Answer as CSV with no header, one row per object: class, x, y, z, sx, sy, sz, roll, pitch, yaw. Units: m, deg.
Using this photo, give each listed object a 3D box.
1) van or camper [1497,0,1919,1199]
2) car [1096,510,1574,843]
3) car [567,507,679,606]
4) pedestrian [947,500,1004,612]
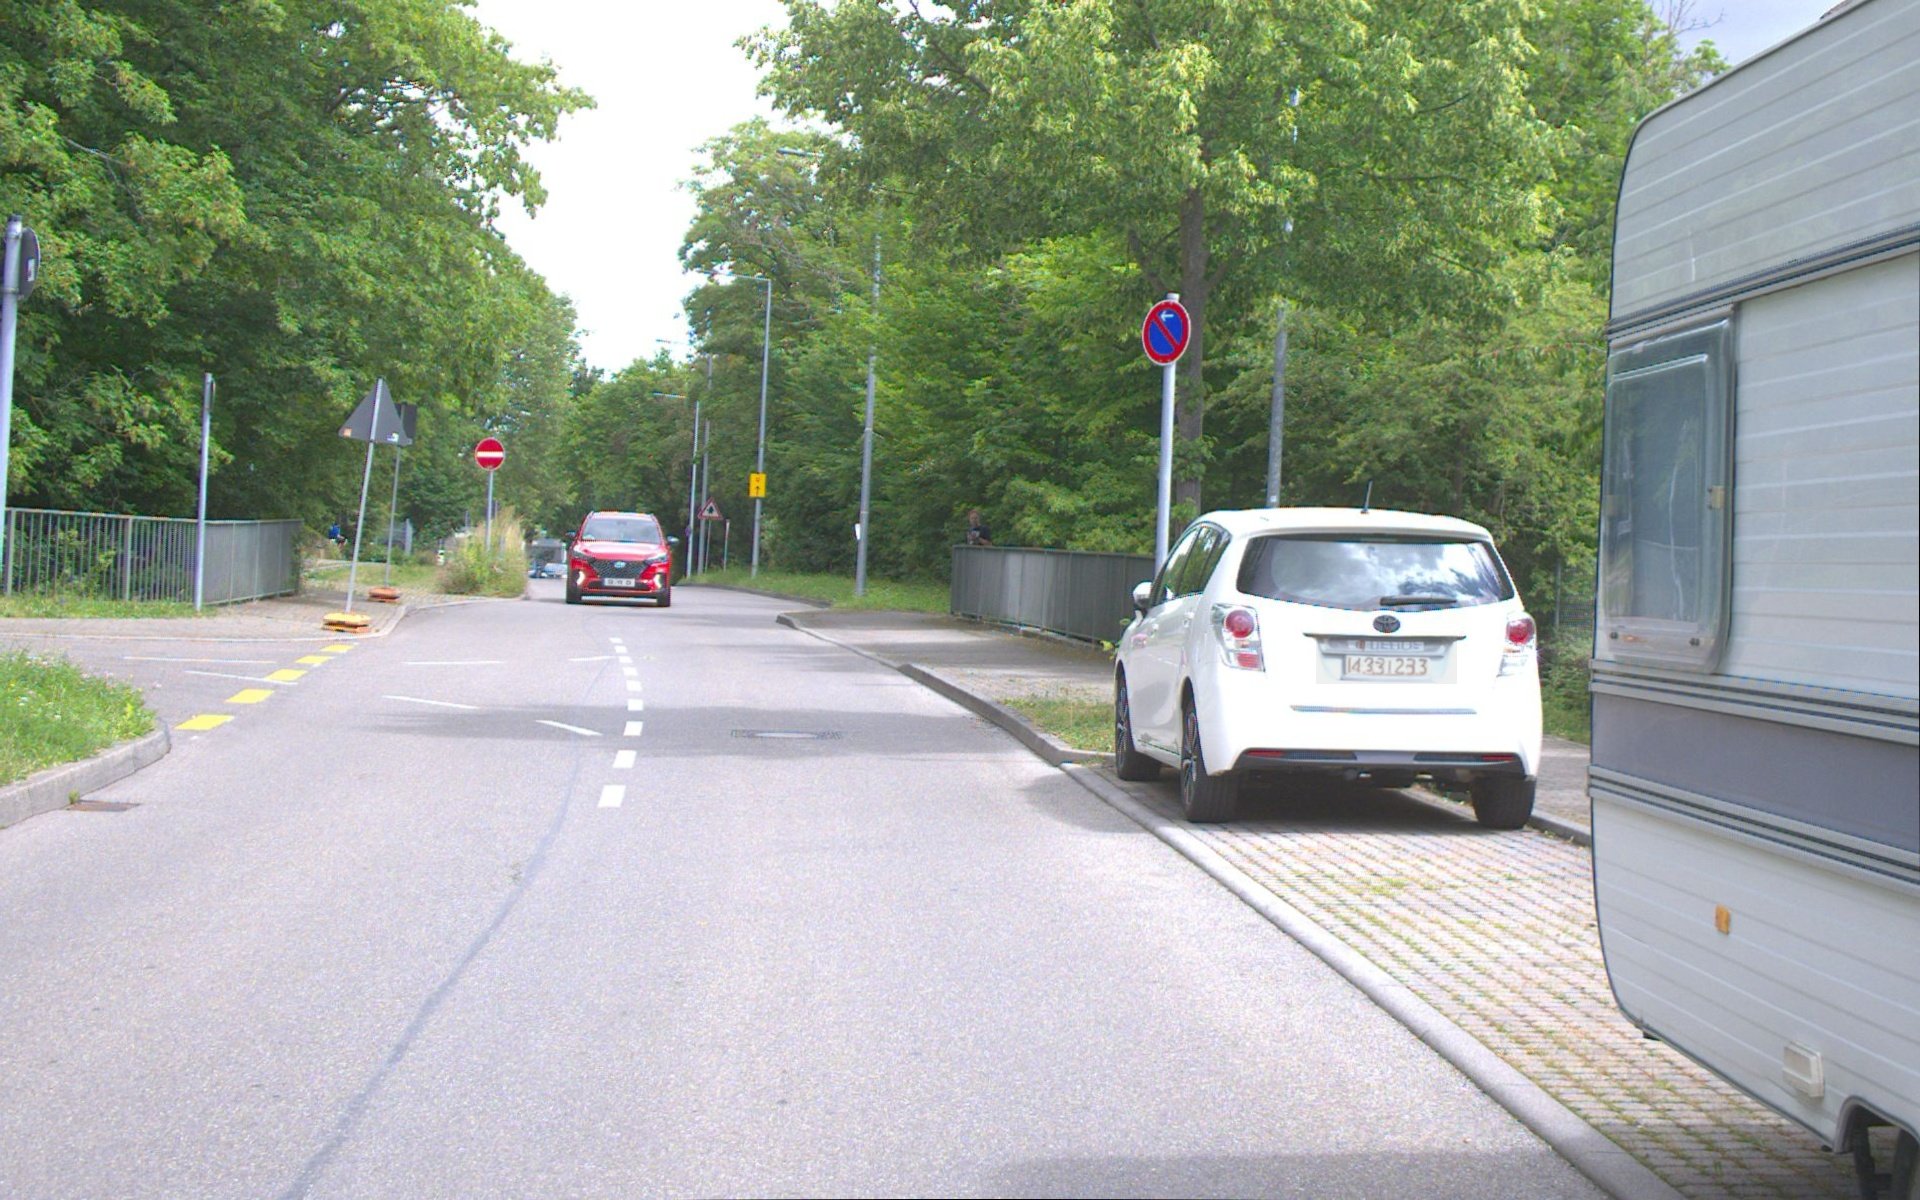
van or camper,2.644,0.139,6.001,2.354,2.545,5.075,1,1,-3
car,1.913,0.319,18.901,1.804,1.594,4.373,1,1,-4
car,-6.033,-0.820,61.863,1.843,1.653,4.222,2,1,-4
pedestrian,0.250,-0.716,55.898,0.587,1.777,0.682,3,-1,-29
